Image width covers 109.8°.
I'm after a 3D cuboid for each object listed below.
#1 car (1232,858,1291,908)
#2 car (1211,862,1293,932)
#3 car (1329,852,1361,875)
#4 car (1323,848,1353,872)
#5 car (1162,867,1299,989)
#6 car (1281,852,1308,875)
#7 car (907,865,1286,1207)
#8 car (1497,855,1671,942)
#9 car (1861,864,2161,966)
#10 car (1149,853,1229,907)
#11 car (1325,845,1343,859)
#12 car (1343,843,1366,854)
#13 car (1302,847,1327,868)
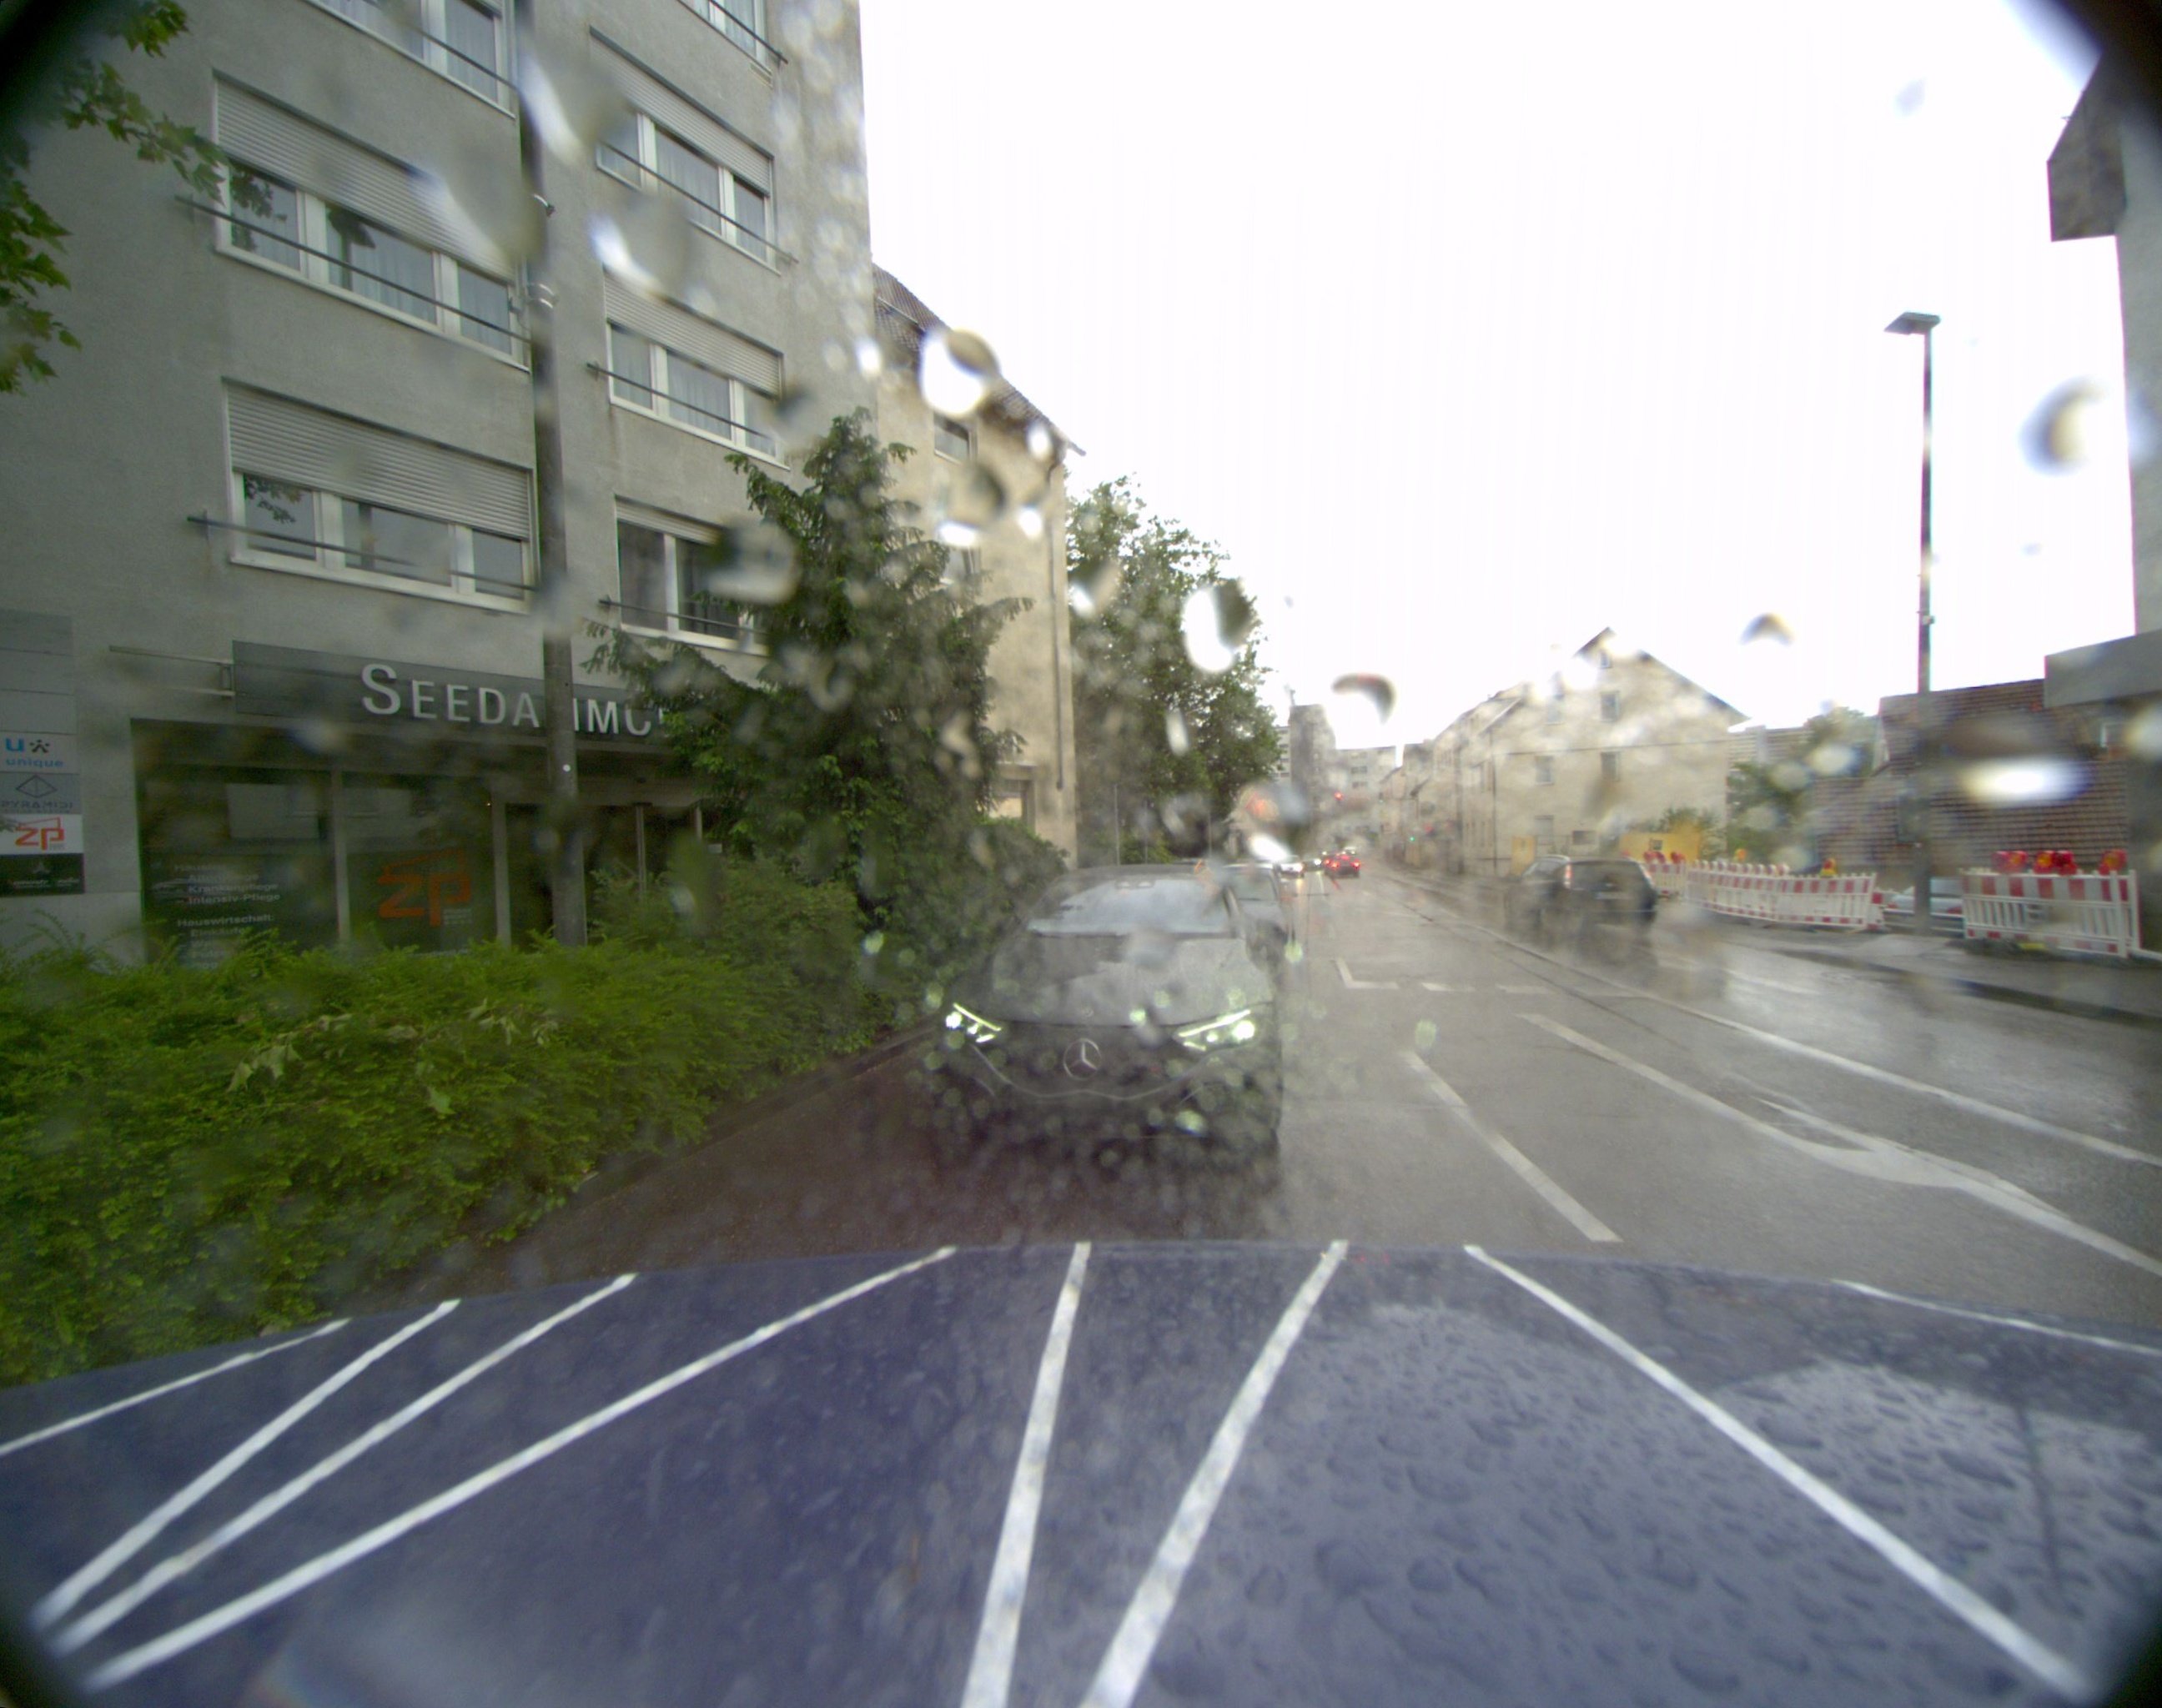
[{"bbox_3d":[6.083,0.909,25.278,1.684,1.452,4.005,-2,0,16],"label":"car"},{"bbox_3d":[4.180,0.955,18.327,1.685,1.413,4.004,-2,0,14],"label":"car"},{"bbox_3d":[17.210,0.587,49.644,1.709,1.375,3.674,-2,0,16],"label":"car"},{"bbox_3d":[18.852,0.406,55.914,1.818,1.635,4.281,-2,-1,16],"label":"car"},{"bbox_3d":[2.407,0.958,11.469,1.639,1.424,3.810,-1,0,17],"label":"car"},{"bbox_3d":[15.158,0.676,53.887,1.613,1.495,3.722,-3,0,18],"label":"car"},{"bbox_3d":[0.458,0.918,5.818,1.819,1.562,4.280,-3,-1,11],"label":"car"},{"bbox_3d":[9.955,0.790,15.442,1.734,1.501,4.279,-1,0,16],"label":"car"},{"bbox_3d":[16.534,1.042,13.411,3.505,1.382,1.653,6,-1,8],"label":"car"},{"bbox_3d":[4.047,0.875,27.796,1.933,1.770,4.740,-1,0,20],"label":"car"},{"bbox_3d":[31.031,-0.275,93.160,1.790,1.555,3.841,-2,0,21],"label":"car"},{"bbox_3d":[40.514,-0.855,112.347,1.736,1.555,3.843,-2,0,44],"label":"car"},{"bbox_3d":[21.318,0.279,69.288,1.790,1.841,3.841,-2,0,22],"label":"car"}]
